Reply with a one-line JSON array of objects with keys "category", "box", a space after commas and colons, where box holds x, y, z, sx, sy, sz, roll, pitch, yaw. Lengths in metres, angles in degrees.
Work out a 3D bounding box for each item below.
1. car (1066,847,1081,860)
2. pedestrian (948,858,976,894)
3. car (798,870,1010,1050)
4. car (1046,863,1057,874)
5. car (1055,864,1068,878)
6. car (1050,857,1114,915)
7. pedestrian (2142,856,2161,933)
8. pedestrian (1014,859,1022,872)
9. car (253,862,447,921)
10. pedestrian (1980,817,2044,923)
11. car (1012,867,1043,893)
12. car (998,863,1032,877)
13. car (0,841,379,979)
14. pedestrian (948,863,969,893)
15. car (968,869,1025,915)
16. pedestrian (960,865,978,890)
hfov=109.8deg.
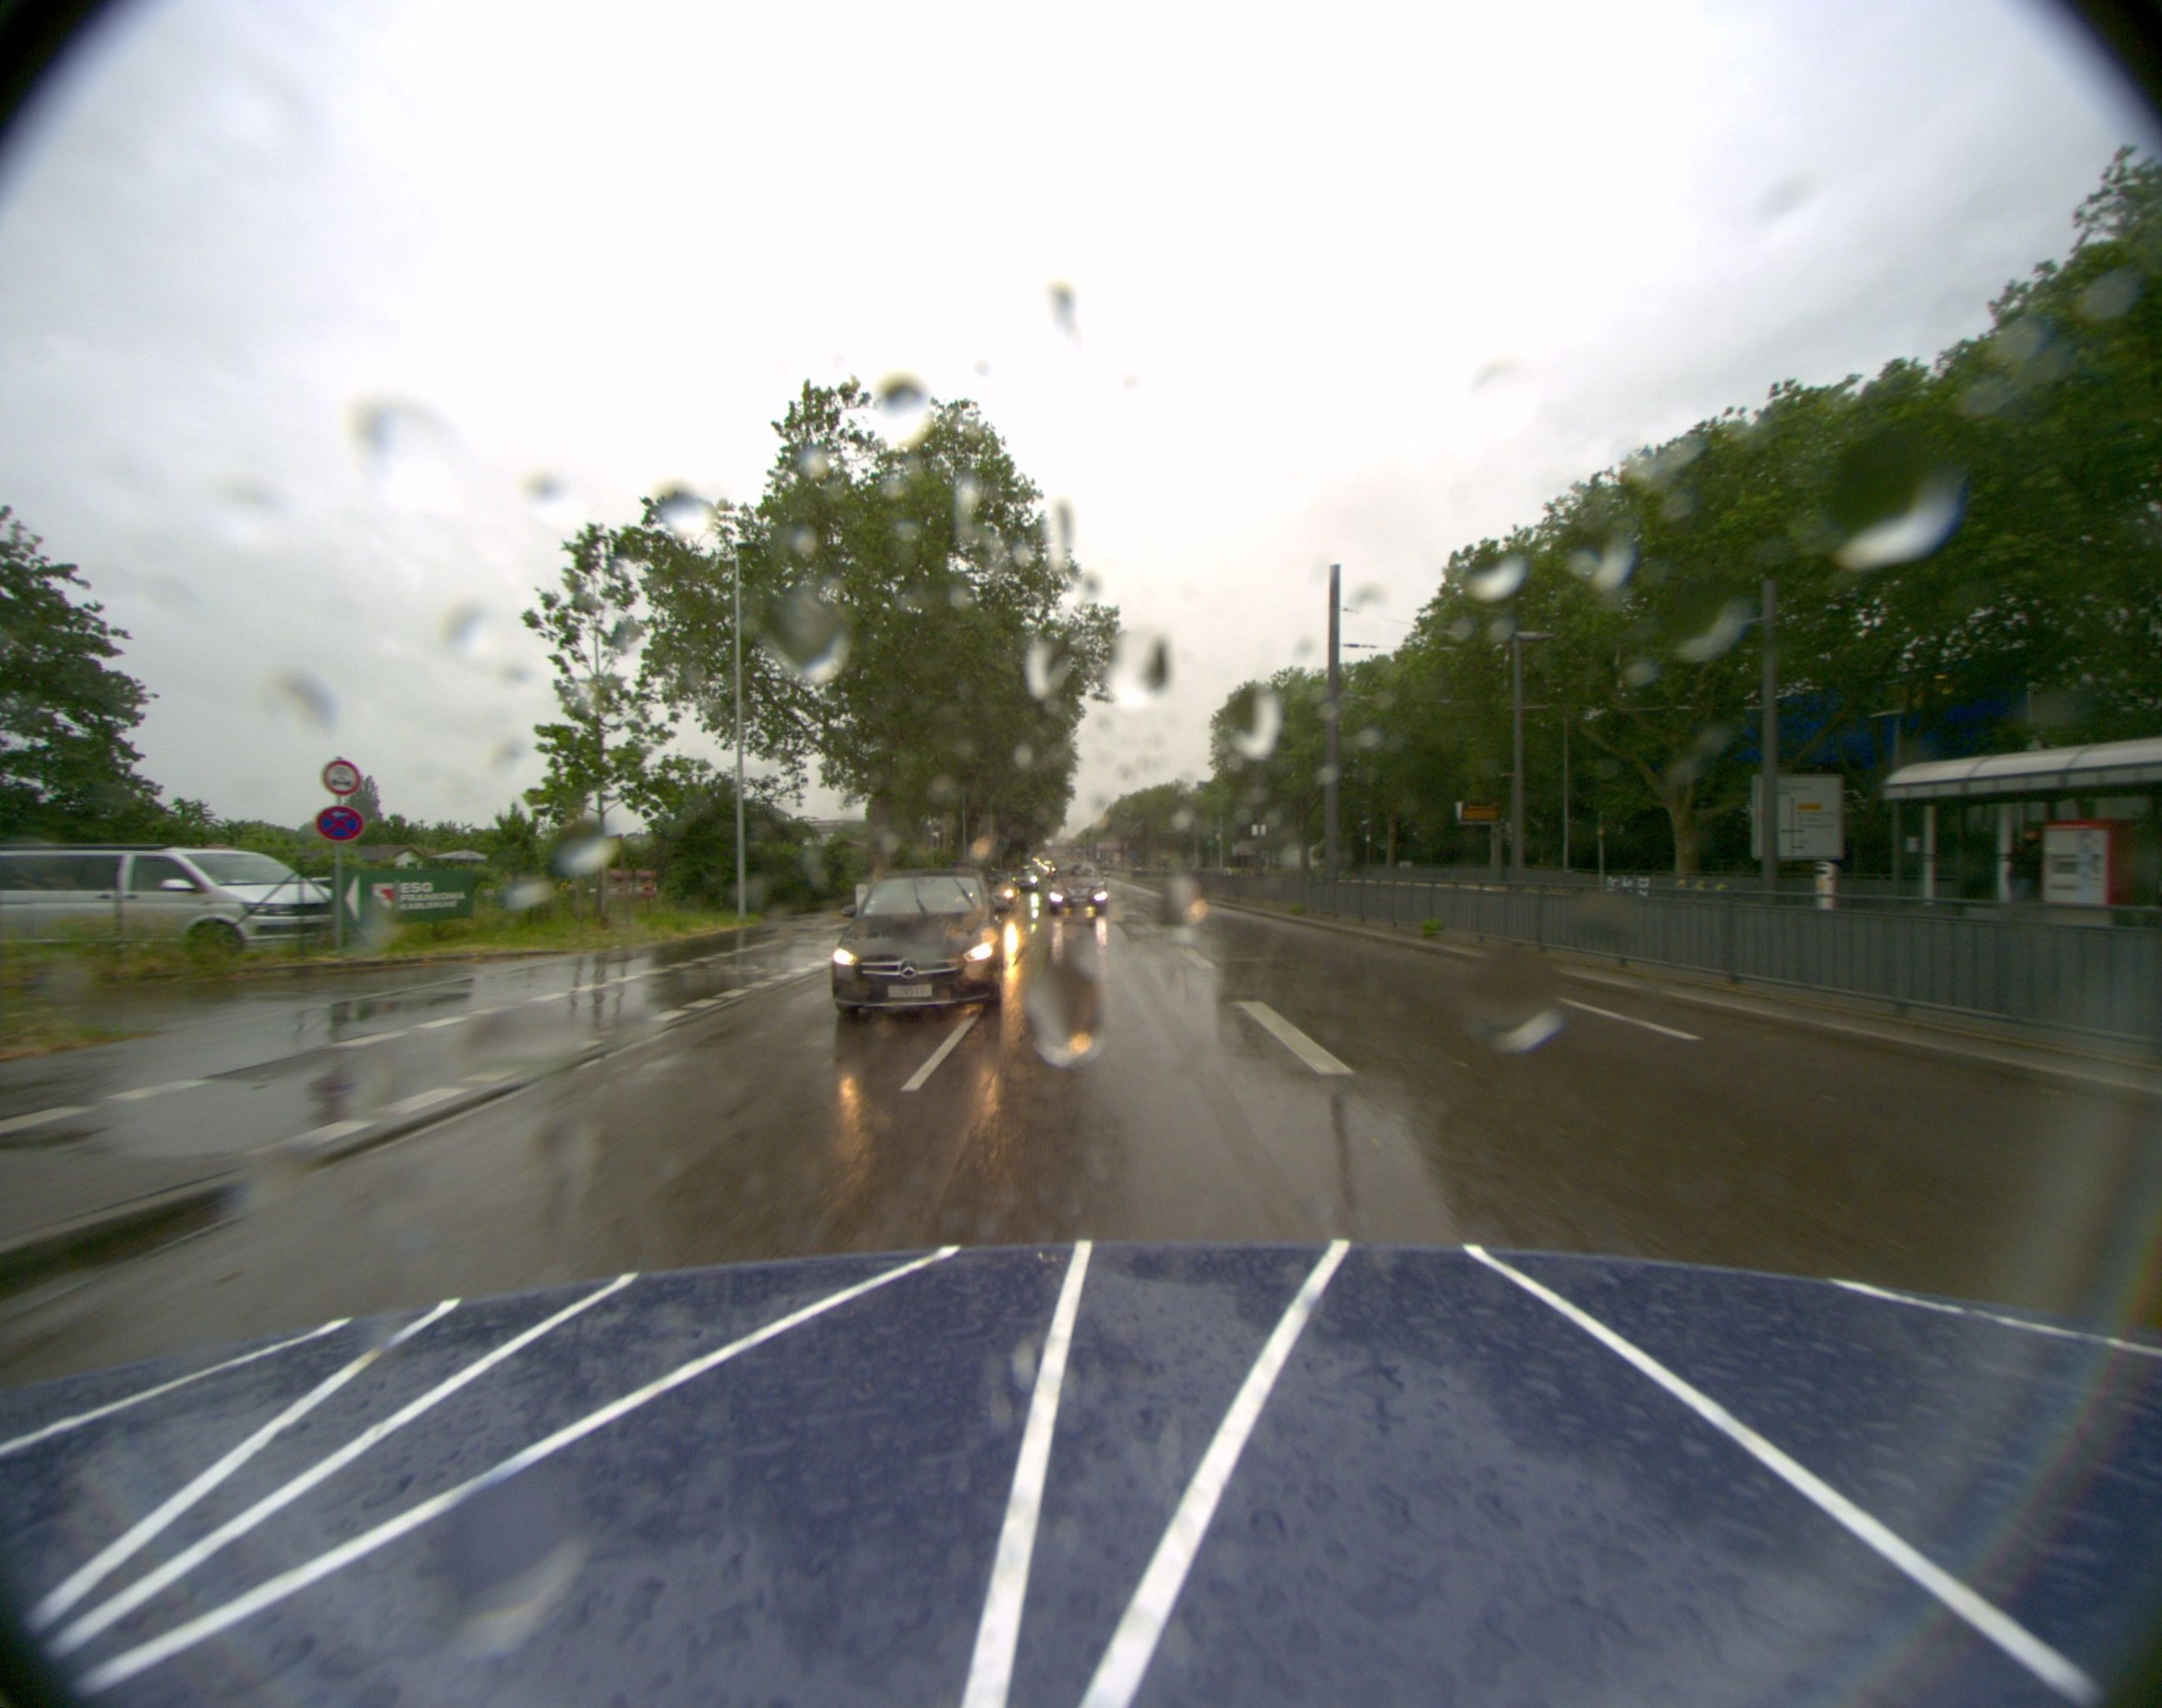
[{"category": "car", "box": [-1.051, -0.001, 104.688, 1.870, 1.688, 4.424, -1, -1, -4]}, {"category": "pedestrian", "box": [-6.133, 1.133, 39.241, 1.243, 1.775, 1.147, 1, 0, -1]}, {"category": "car", "box": [-1.858, 1.036, 9.325, 1.822, 1.521, 4.420, -2, 0, -4]}, {"category": "car", "box": [-6.036, 2.924, 154.742, 1.998, 2.002, 4.000, -2, 0, 1]}, {"category": "car", "box": [-3.210, 2.795, 125.538, 1.998, 2.002, 4.000, -2, 0, 1]}, {"category": "car", "box": [0.017, 1.032, 25.976, 1.975, 1.793, 4.158, -1, -1, -1]}, {"category": "pedestrian", "box": [18.124, 0.672, 12.461, 0.494, 1.260, 0.664, -2, 0, 3]}, {"category": "pedestrian", "box": [-8.391, 1.499, 101.292, 0.969, 1.692, 1.140, -2, 0, -2]}, {"category": "car", "box": [-22.258, 1.168, 23.397, 1.998, 1.607, 4.003, -2, -3, 2]}, {"category": "pedestrian", "box": [18.050, 0.312, 14.744, 0.494, 2.002, 0.582, -2, 1, -1]}, {"category": "car", "box": [-3.307, 1.574, 47.627, 1.822, 1.520, 4.158, -1, -1, -3]}, {"category": "car", "box": [-7.097, 1.725, 81.937, 3.387, 1.488, 1.660, -1, -1, 5]}, {"category": "car", "box": [-15.576, 0.891, 12.836, 5.265, 2.002, 1.999, -2, 0, -5]}, {"category": "pedestrian", "box": [-6.714, 1.304, 41.577, 0.949, 1.580, 1.293, 0, 0, -1]}, {"category": "car", "box": [-2.908, 1.279, 26.877, 1.642, 1.377, 3.781, -2, 0, -1]}, {"category": "pedestrian", "box": [-6.515, 1.356, 44.216, 0.894, 1.382, 1.016, 1, 0, -1]}]
